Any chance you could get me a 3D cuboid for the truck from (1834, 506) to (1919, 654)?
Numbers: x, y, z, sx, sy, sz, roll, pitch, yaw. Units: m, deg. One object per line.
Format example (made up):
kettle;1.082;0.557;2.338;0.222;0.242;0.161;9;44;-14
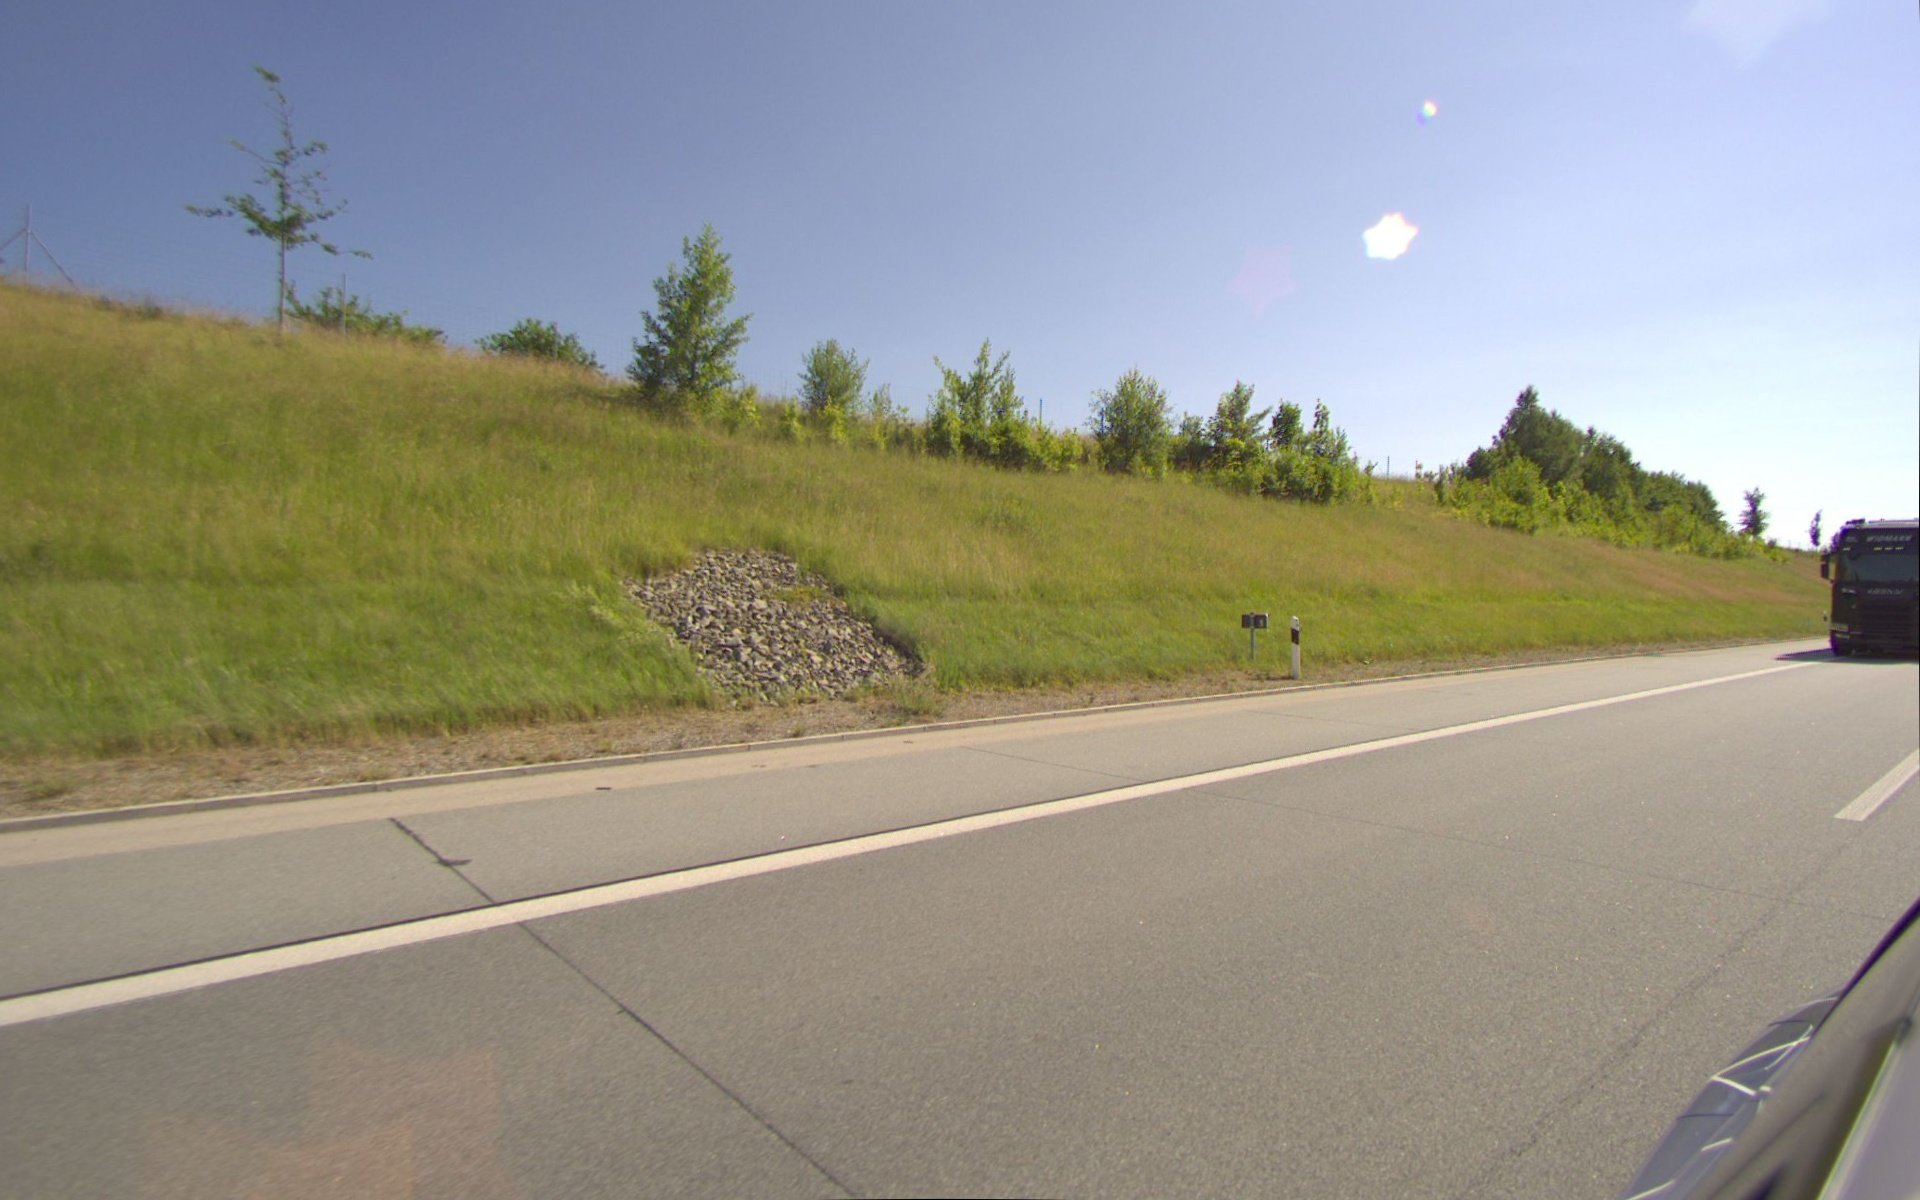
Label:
truck;29.871;-0.558;30.999;13.165;3.866;2.622;0;0;-40
